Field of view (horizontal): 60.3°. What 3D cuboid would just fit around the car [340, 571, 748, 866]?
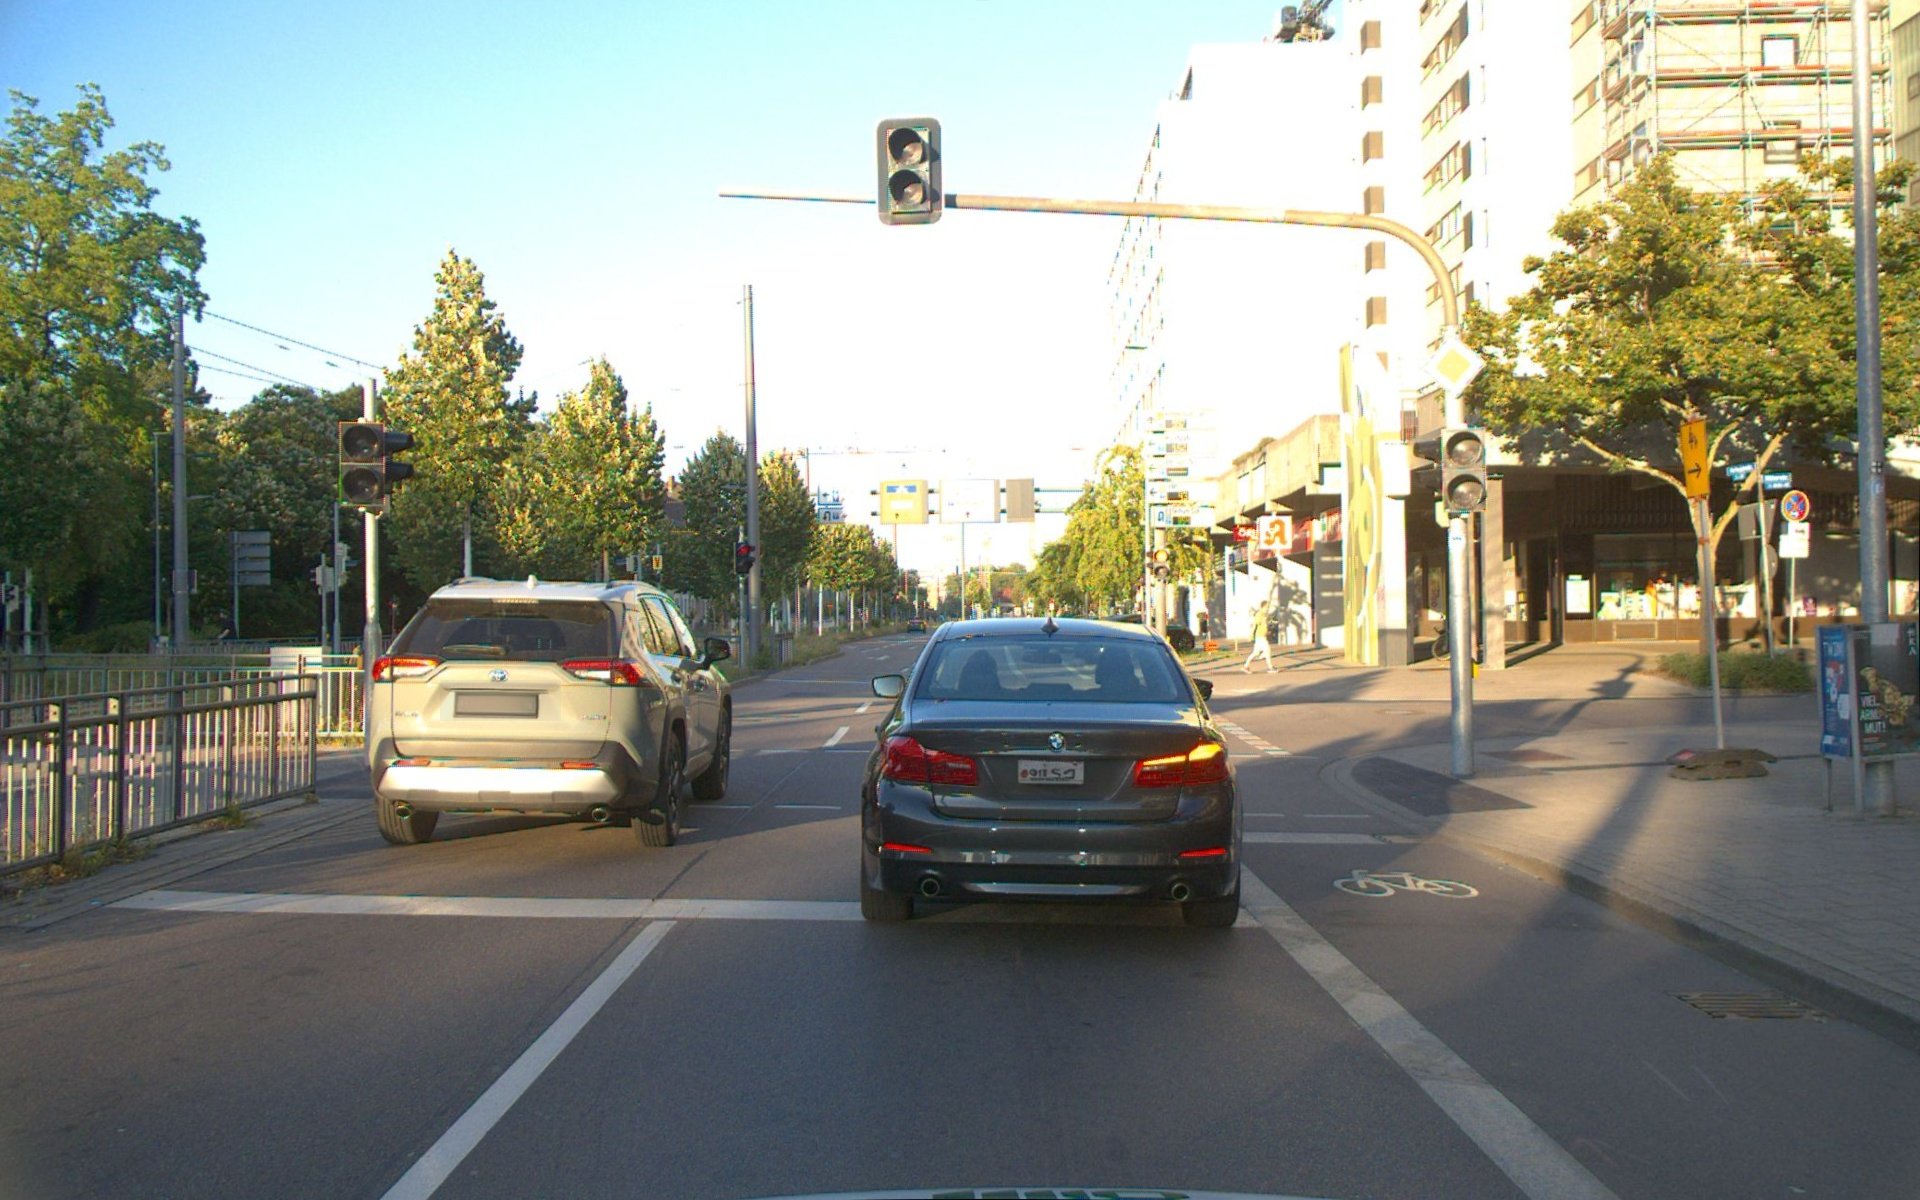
[{"bbox_3d":[-2.658,0.659,11.619,1.817,1.687,4.268,0,1,-1],"label":"car"}]

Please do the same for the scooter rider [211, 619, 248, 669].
[{"bbox_3d":[-22.922,1.378,51.890,0.638,1.541,0.822,-1,-1,26],"label":"scooter rider"}]

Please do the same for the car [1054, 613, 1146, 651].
[{"bbox_3d":[6.605,1.472,77.884,4.222,1.687,1.837,0,1,-37],"label":"car"}]

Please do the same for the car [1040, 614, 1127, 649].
[{"bbox_3d":[6.290,1.561,84.094,4.220,1.687,1.837,0,1,-36],"label":"car"}]

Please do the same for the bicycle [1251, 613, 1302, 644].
[{"bbox_3d":[13.014,1.176,68.062,1.974,1.169,0.691,2,-2,6],"label":"bicycle"}]

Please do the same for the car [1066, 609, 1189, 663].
[{"bbox_3d":[5.652,1.172,55.506,4.234,1.687,1.831,0,1,-44],"label":"car"}]

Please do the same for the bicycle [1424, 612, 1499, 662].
[{"bbox_3d":[12.236,0.904,40.420,0.678,1.169,2.012,3,-2,-19],"label":"bicycle"}]

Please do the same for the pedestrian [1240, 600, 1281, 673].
[{"bbox_3d":[7.310,0.886,40.230,0.818,1.742,0.647,-1,-1,-2],"label":"pedestrian"}]

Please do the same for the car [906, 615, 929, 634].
[{"bbox_3d":[-3.714,2.147,145.735,1.938,1.458,4.842,0,1,-1],"label":"car"}]

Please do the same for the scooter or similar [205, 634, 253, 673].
[{"bbox_3d":[-22.912,1.659,51.855,0.502,1.173,1.332,-1,-1,26],"label":"scooter or similar"}]

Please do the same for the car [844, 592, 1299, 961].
[{"bbox_3d":[0.450,0.728,9.159,1.892,1.507,4.522,0,1,0],"label":"car"}]
